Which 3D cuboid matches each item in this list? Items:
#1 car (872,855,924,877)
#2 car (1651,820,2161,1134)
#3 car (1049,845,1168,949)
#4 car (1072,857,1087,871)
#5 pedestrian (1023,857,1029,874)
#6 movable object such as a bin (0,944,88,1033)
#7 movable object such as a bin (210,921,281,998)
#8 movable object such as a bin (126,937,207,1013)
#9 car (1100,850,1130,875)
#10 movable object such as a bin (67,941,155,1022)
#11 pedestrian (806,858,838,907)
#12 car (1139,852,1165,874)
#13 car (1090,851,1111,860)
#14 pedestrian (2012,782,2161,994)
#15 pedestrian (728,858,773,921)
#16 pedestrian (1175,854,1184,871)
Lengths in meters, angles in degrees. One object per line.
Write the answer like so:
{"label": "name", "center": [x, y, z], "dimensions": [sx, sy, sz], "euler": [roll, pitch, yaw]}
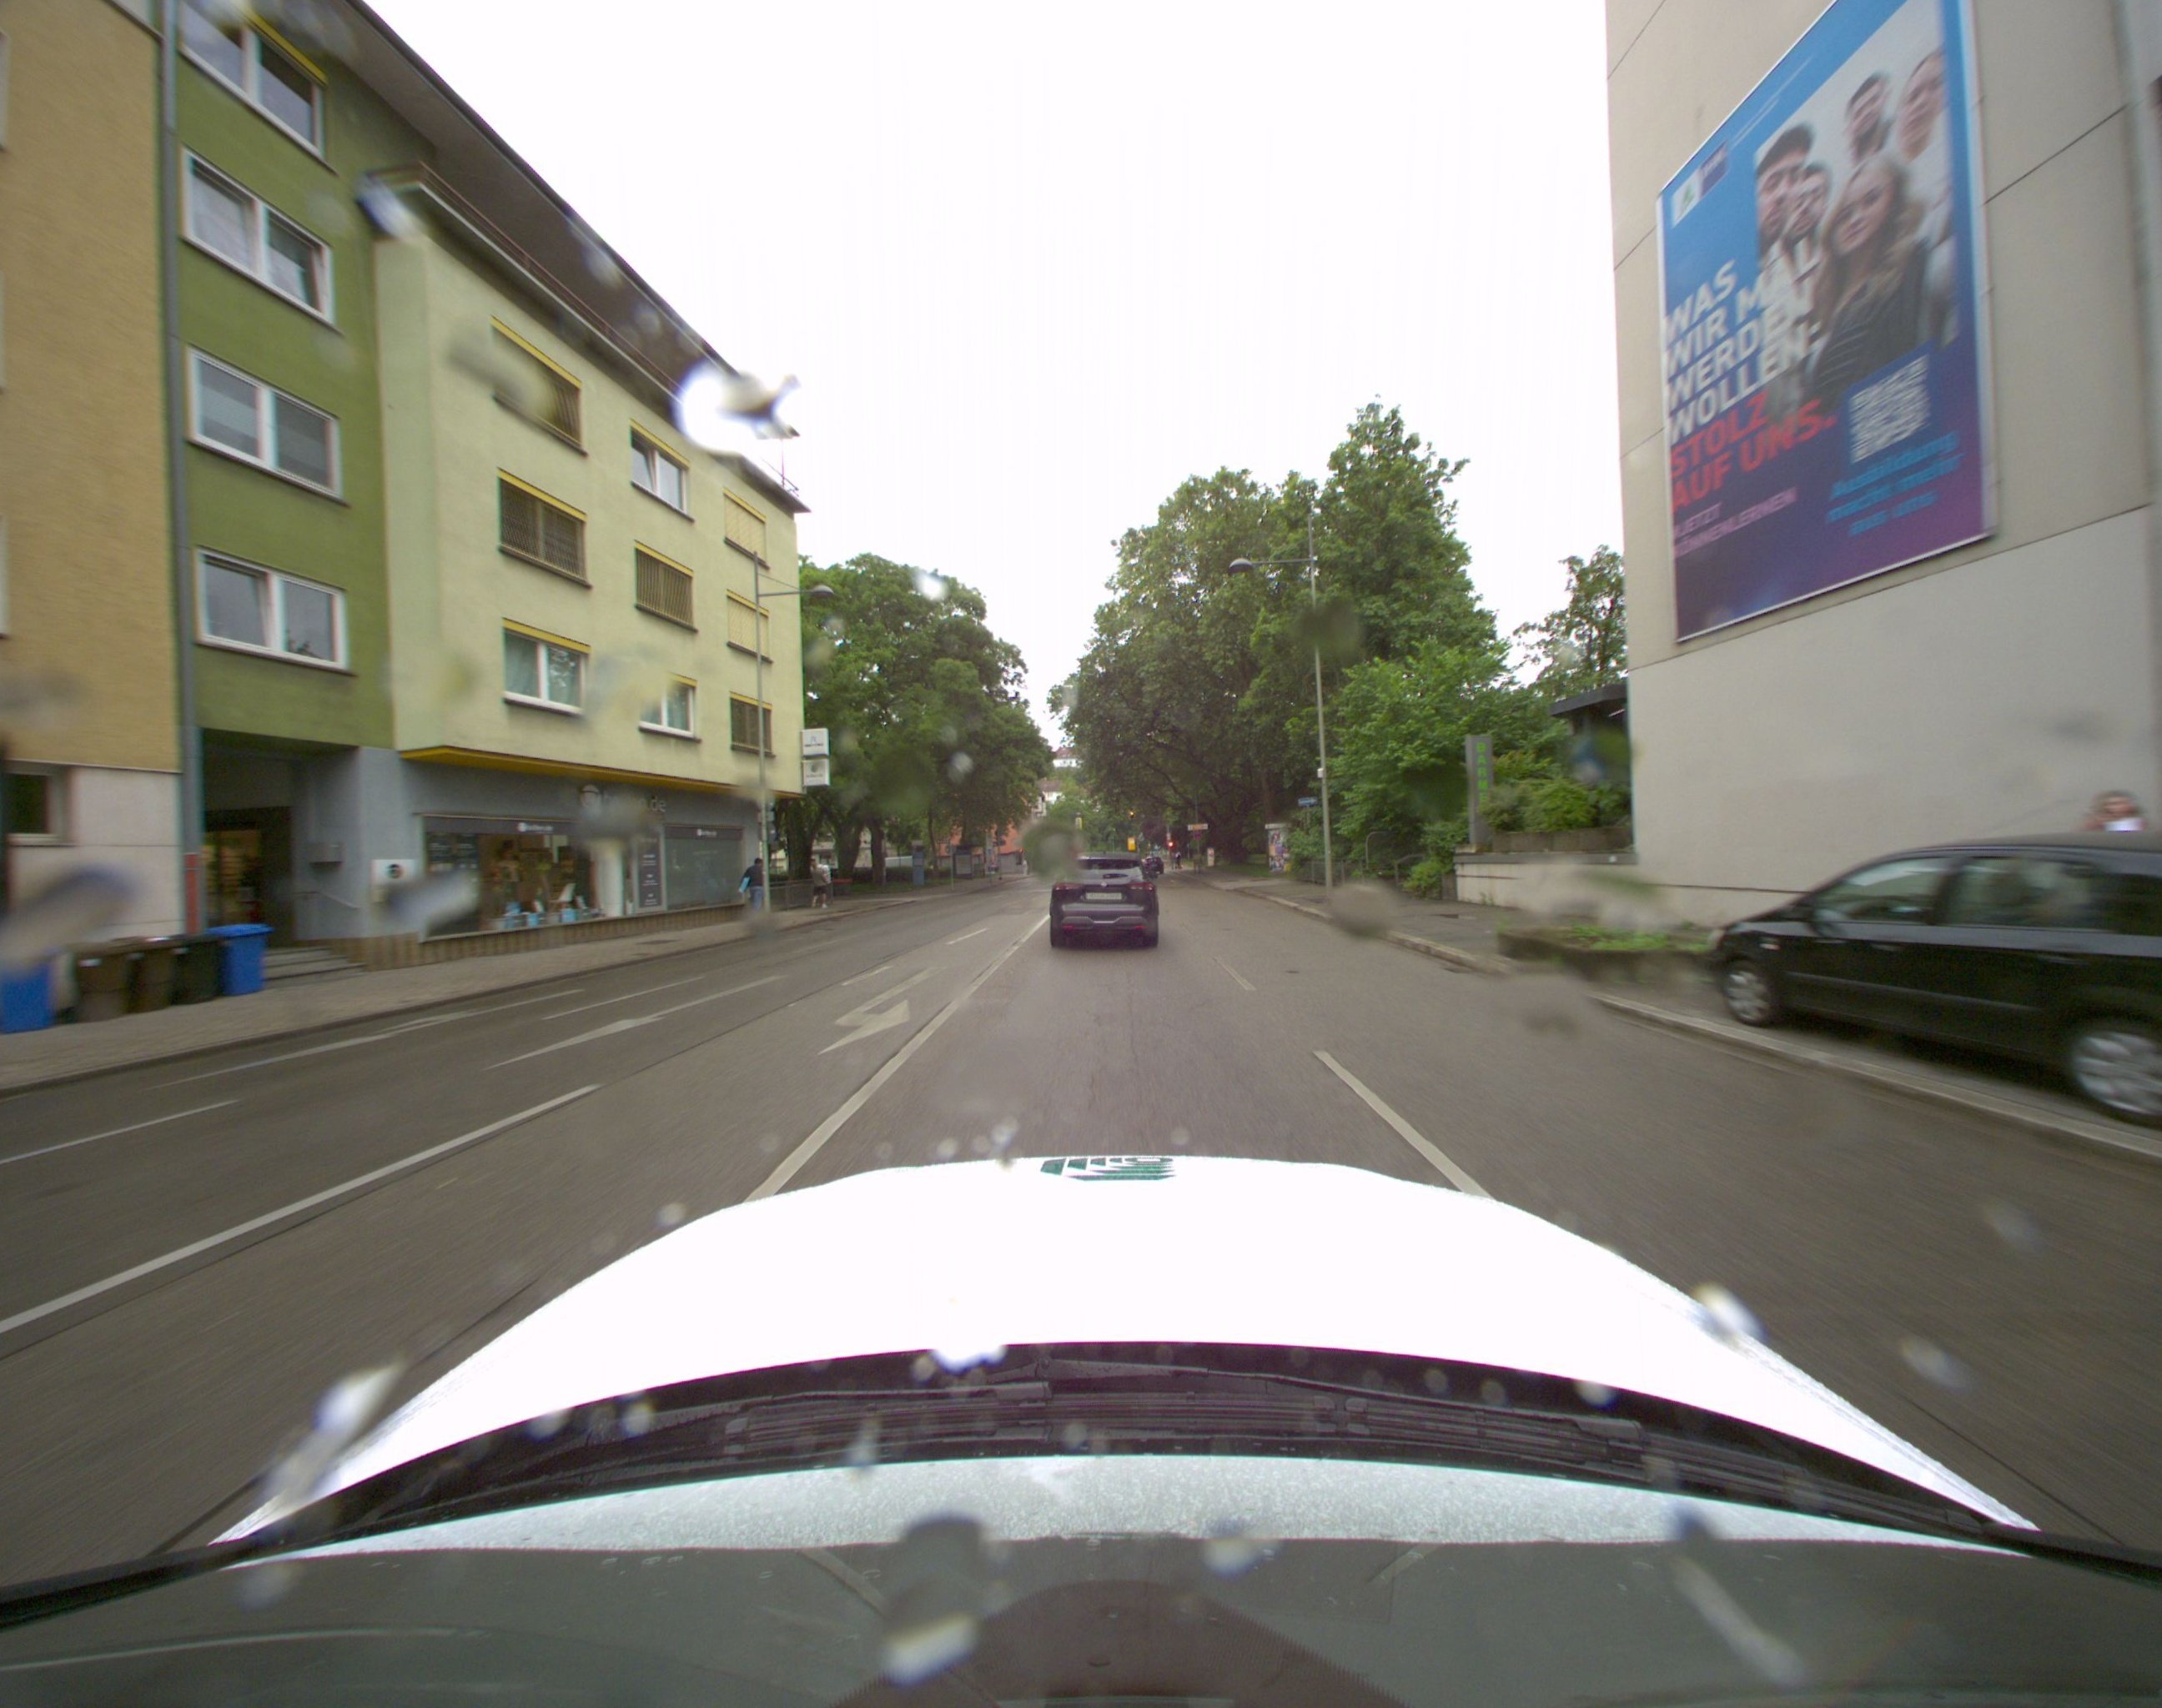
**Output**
{"label": "car", "center": [-15.058, 0.959, 67.066], "dimensions": [3.820, 1.734, 1.879], "euler": [-1, 0, 0]}
{"label": "car", "center": [6.076, 0.563, 5.482], "dimensions": [1.707, 1.442, 4.085], "euler": [-4, 0, 3]}
{"label": "car", "center": [0.397, 0.689, 14.927], "dimensions": [1.889, 1.629, 3.998], "euler": [0, 0, -1]}
{"label": "car", "center": [-0.126, 1.355, 113.012], "dimensions": [1.813, 1.796, 3.869], "euler": [-1, 0, 4]}
{"label": "pedestrian", "center": [-5.547, 1.156, 82.173], "dimensions": [0.665, 1.791, 0.720], "euler": [0, 0, -5]}
{"label": "movable object such as a bin", "center": [-11.937, 1.531, 9.345], "dimensions": [0.451, 0.929, 0.504], "euler": [-2, 0, 9]}
{"label": "movable object such as a bin", "center": [-11.821, 1.488, 11.530], "dimensions": [0.396, 1.006, 0.546], "euler": [-2, 0, 9]}
{"label": "movable object such as a bin", "center": [-11.753, 1.546, 10.473], "dimensions": [0.451, 0.900, 0.504], "euler": [-2, 0, 9]}
{"label": "car", "center": [2.392, 0.608, 56.334], "dimensions": [1.937, 1.685, 4.003], "euler": [-1, -1, 3]}
{"label": "movable object such as a bin", "center": [-11.836, 1.546, 9.946], "dimensions": [0.451, 0.900, 0.504], "euler": [-2, 0, 9]}
{"label": "pedestrian", "center": [-9.269, 1.003, 29.165], "dimensions": [0.795, 1.688, 0.817], "euler": [-2, 0, 1]}
{"label": "car", "center": [6.324, 0.826, 72.582], "dimensions": [1.939, 1.816, 4.000], "euler": [-4, -1, 1]}
{"label": "car", "center": [5.561, 0.383, 231.986], "dimensions": [6.060, 2.355, 2.421], "euler": [-1, 0, -1]}
{"label": "pedestrian", "center": [8.940, 0.284, 7.159], "dimensions": [0.611, 1.737, 0.680], "euler": [-4, -1, -5]}
{"label": "pedestrian", "center": [-9.575, 1.009, 23.607], "dimensions": [0.860, 1.788, 0.877], "euler": [0, 0, 8]}
{"label": "pedestrian", "center": [10.236, 0.861, 84.611], "dimensions": [0.672, 1.791, 0.713], "euler": [0, 0, -39]}
